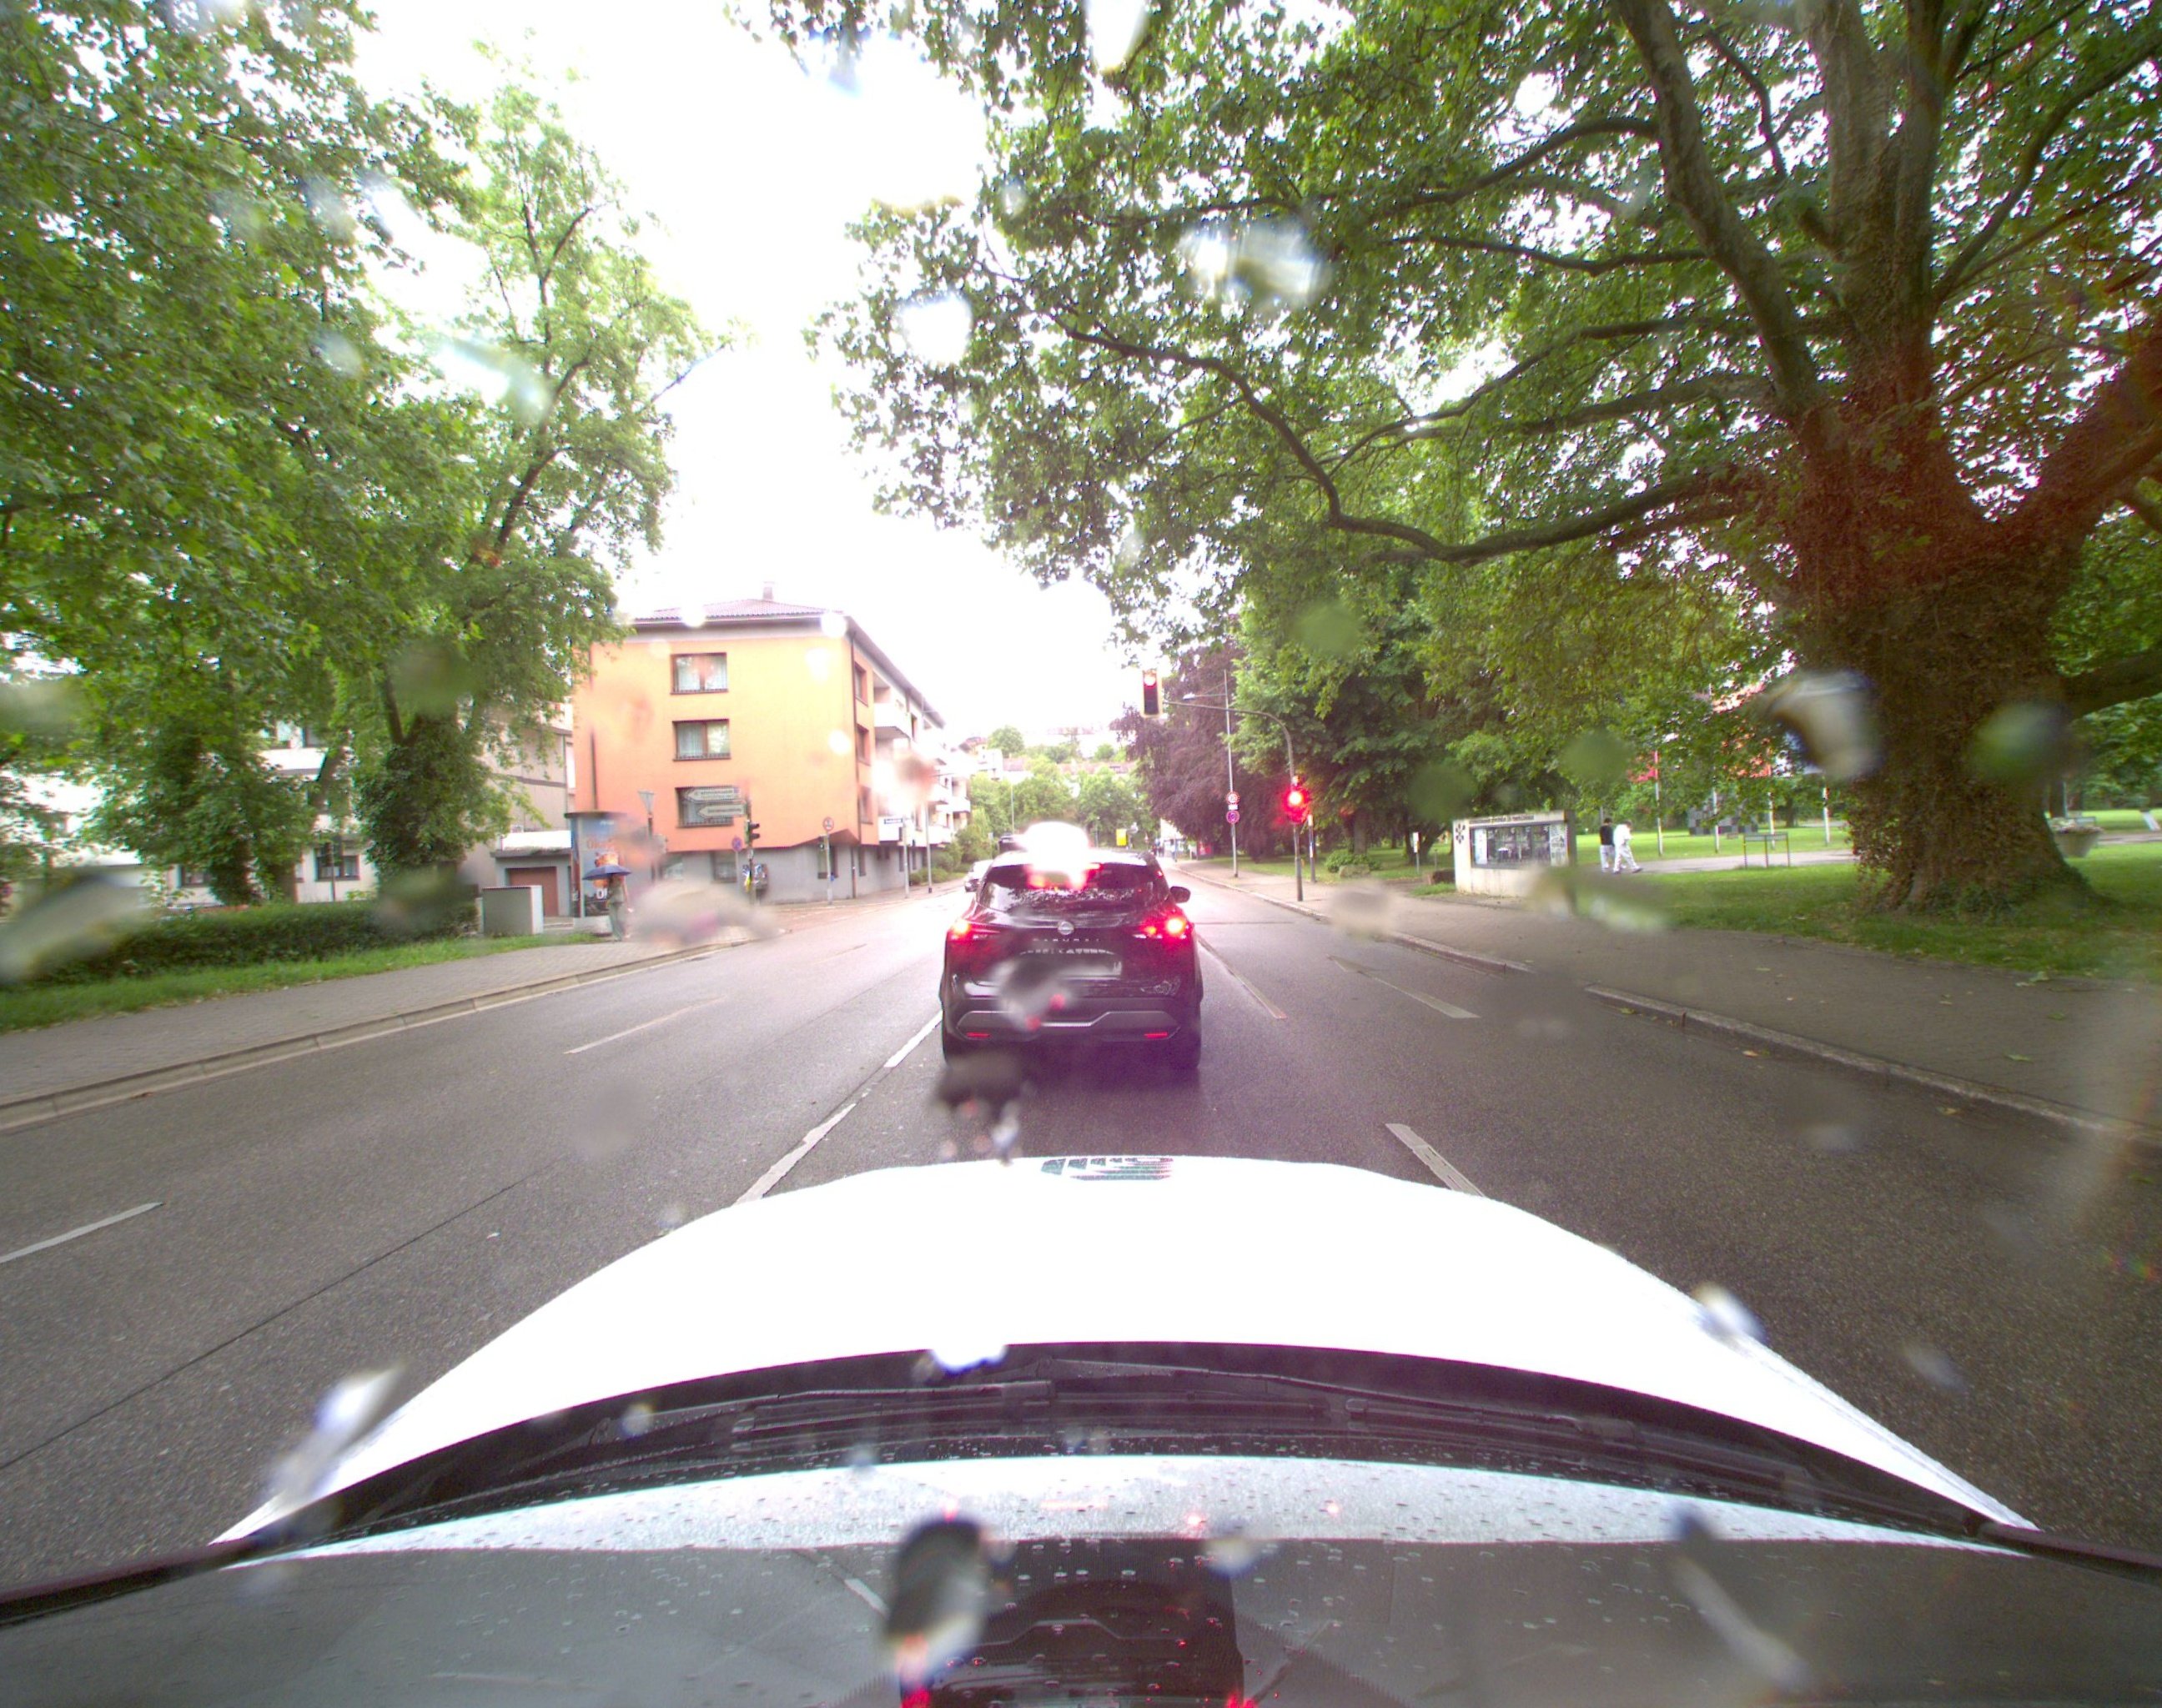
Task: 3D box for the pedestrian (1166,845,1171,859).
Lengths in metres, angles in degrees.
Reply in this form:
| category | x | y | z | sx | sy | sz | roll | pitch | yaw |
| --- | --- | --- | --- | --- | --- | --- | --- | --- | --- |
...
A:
| category | x | y | z | sx | sy | sz | roll | pitch | yaw |
| --- | --- | --- | --- | --- | --- | --- | --- | --- | --- |
| pedestrian | 11.918 | -0.286 | 111.139 | 0.616 | 1.779 | 0.551 | -3 | 0 | 1 |

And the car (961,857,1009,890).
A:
| category | x | y | z | sx | sy | sz | roll | pitch | yaw |
| --- | --- | --- | --- | --- | --- | --- | --- | --- | --- |
| car | -4.788 | 0.968 | 41.193 | 1.802 | 1.417 | 4.031 | -4 | 0 | 1 |

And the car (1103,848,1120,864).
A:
| category | x | y | z | sx | sy | sz | roll | pitch | yaw |
| --- | --- | --- | --- | --- | --- | --- | --- | --- | --- |
| car | 3.164 | 0.195 | 83.279 | 1.618 | 1.415 | 3.456 | -3 | 0 | 2 |

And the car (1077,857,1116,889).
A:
| category | x | y | z | sx | sy | sz | roll | pitch | yaw |
| --- | --- | --- | --- | --- | --- | --- | --- | --- | --- |
| car | 0.775 | 0.920 | 41.116 | 1.802 | 1.417 | 4.031 | -2 | 0 | 1 |

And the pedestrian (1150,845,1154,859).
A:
| category | x | y | z | sx | sy | sz | roll | pitch | yaw |
| --- | --- | --- | --- | --- | --- | --- | --- | --- | --- |
| pedestrian | 8.786 | -0.238 | 101.280 | 0.473 | 1.651 | 0.490 | 0 | -1 | 2 |

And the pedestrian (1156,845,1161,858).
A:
| category | x | y | z | sx | sy | sz | roll | pitch | yaw |
| --- | --- | --- | --- | --- | --- | --- | --- | --- | --- |
| pedestrian | 9.444 | -0.315 | 99.545 | 0.513 | 1.655 | 0.550 | 0 | -1 | 1 |

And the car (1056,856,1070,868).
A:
| category | x | y | z | sx | sy | sz | roll | pitch | yaw |
| --- | --- | --- | --- | --- | --- | --- | --- | --- | --- |
| car | -2.510 | 1.043 | 112.963 | 1.671 | 1.469 | 4.217 | -4 | 0 | 1 |

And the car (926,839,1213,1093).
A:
| category | x | y | z | sx | sy | sz | roll | pitch | yaw |
| --- | --- | --- | --- | --- | --- | --- | --- | --- | --- |
| car | -0.013 | 0.722 | 7.137 | 1.799 | 1.590 | 4.001 | 0 | -1 | 2 |

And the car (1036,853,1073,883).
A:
| category | x | y | z | sx | sy | sz | roll | pitch | yaw |
| --- | --- | --- | --- | --- | --- | --- | --- | --- | --- |
| car | -1.347 | 0.711 | 42.460 | 1.618 | 1.415 | 3.456 | -3 | 0 | 2 |

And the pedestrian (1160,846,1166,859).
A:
| category | x | y | z | sx | sy | sz | roll | pitch | yaw |
| --- | --- | --- | --- | --- | --- | --- | --- | --- | --- |
| pedestrian | 11.085 | -0.240 | 110.505 | 0.616 | 1.779 | 0.551 | -3 | 0 | 1 |

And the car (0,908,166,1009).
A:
| category | x | y | z | sx | sy | sz | roll | pitch | yaw |
| --- | --- | --- | --- | --- | --- | --- | --- | --- | --- |
| car | -17.999 | 1.738 | 13.812 | 3.182 | 1.524 | 1.507 | 0 | -1 | -1 |

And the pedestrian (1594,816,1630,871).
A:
| category | x | y | z | sx | sy | sz | roll | pitch | yaw |
| --- | --- | --- | --- | --- | --- | --- | --- | --- | --- |
| pedestrian | 17.136 | -0.331 | 26.297 | 0.663 | 1.756 | 0.722 | 0 | -1 | -7 |

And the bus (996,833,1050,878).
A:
| category | x | y | z | sx | sy | sz | roll | pitch | yaw |
| --- | --- | --- | --- | --- | --- | --- | --- | --- | --- |
| bus | -4.256 | 0.148 | 62.116 | 2.756 | 2.974 | 11.786 | -3 | 0 | 2 |

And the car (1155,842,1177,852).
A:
| category | x | y | z | sx | sy | sz | roll | pitch | yaw |
| --- | --- | --- | --- | --- | --- | --- | --- | --- | --- |
| car | 17.203 | -1.404 | 164.190 | 3.986 | 1.684 | 1.994 | -3 | 0 | -9 |

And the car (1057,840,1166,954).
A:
| category | x | y | z | sx | sy | sz | roll | pitch | yaw |
| --- | --- | --- | --- | --- | --- | --- | --- | --- | --- |
| car | 0.595 | 0.672 | 14.780 | 1.615 | 1.709 | 3.774 | -3 | 0 | 3 |

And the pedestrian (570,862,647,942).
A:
| category | x | y | z | sx | sy | sz | roll | pitch | yaw |
| --- | --- | --- | --- | --- | --- | --- | --- | --- | --- |
| pedestrian | -10.626 | 1.052 | 18.362 | 0.988 | 1.742 | 1.210 | -1 | 0 | 1 |

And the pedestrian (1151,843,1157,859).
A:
| category | x | y | z | sx | sy | sz | roll | pitch | yaw |
| --- | --- | --- | --- | --- | --- | --- | --- | --- | --- |
| pedestrian | 9.981 | -0.435 | 111.672 | 0.764 | 2.183 | 0.712 | 0 | -1 | 5 |

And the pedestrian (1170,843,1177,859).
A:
| category | x | y | z | sx | sy | sz | roll | pitch | yaw |
| --- | --- | --- | --- | --- | --- | --- | --- | --- | --- |
| pedestrian | 10.546 | -0.349 | 92.981 | 0.616 | 1.779 | 0.779 | -3 | 0 | 1 |

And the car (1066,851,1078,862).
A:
| category | x | y | z | sx | sy | sz | roll | pitch | yaw |
| --- | --- | --- | --- | --- | --- | --- | --- | --- | --- |
| car | -1.476 | 0.374 | 135.903 | 1.743 | 1.633 | 3.636 | -3 | 0 | 2 |

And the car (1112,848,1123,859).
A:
| category | x | y | z | sx | sy | sz | roll | pitch | yaw |
| --- | --- | --- | --- | --- | --- | --- | --- | --- | --- |
| car | 6.275 | -0.098 | 138.618 | 1.743 | 1.633 | 3.636 | -3 | 0 | 2 |

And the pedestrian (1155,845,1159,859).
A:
| category | x | y | z | sx | sy | sz | roll | pitch | yaw |
| --- | --- | --- | --- | --- | --- | --- | --- | --- | --- |
| pedestrian | 9.463 | -0.243 | 101.269 | 0.542 | 1.651 | 0.490 | 0 | -1 | 2 |

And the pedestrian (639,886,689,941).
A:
| category | x | y | z | sx | sy | sz | roll | pitch | yaw |
| --- | --- | --- | --- | --- | --- | --- | --- | --- | --- |
| pedestrian | -9.419 | 1.337 | 18.426 | 0.681 | 1.175 | 0.827 | -1 | 0 | 1 |

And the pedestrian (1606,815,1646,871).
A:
| category | x | y | z | sx | sy | sz | roll | pitch | yaw |
| --- | --- | --- | --- | --- | --- | --- | --- | --- | --- |
| pedestrian | 16.998 | -0.337 | 25.399 | 0.663 | 1.712 | 0.788 | 0 | -1 | -7 |
